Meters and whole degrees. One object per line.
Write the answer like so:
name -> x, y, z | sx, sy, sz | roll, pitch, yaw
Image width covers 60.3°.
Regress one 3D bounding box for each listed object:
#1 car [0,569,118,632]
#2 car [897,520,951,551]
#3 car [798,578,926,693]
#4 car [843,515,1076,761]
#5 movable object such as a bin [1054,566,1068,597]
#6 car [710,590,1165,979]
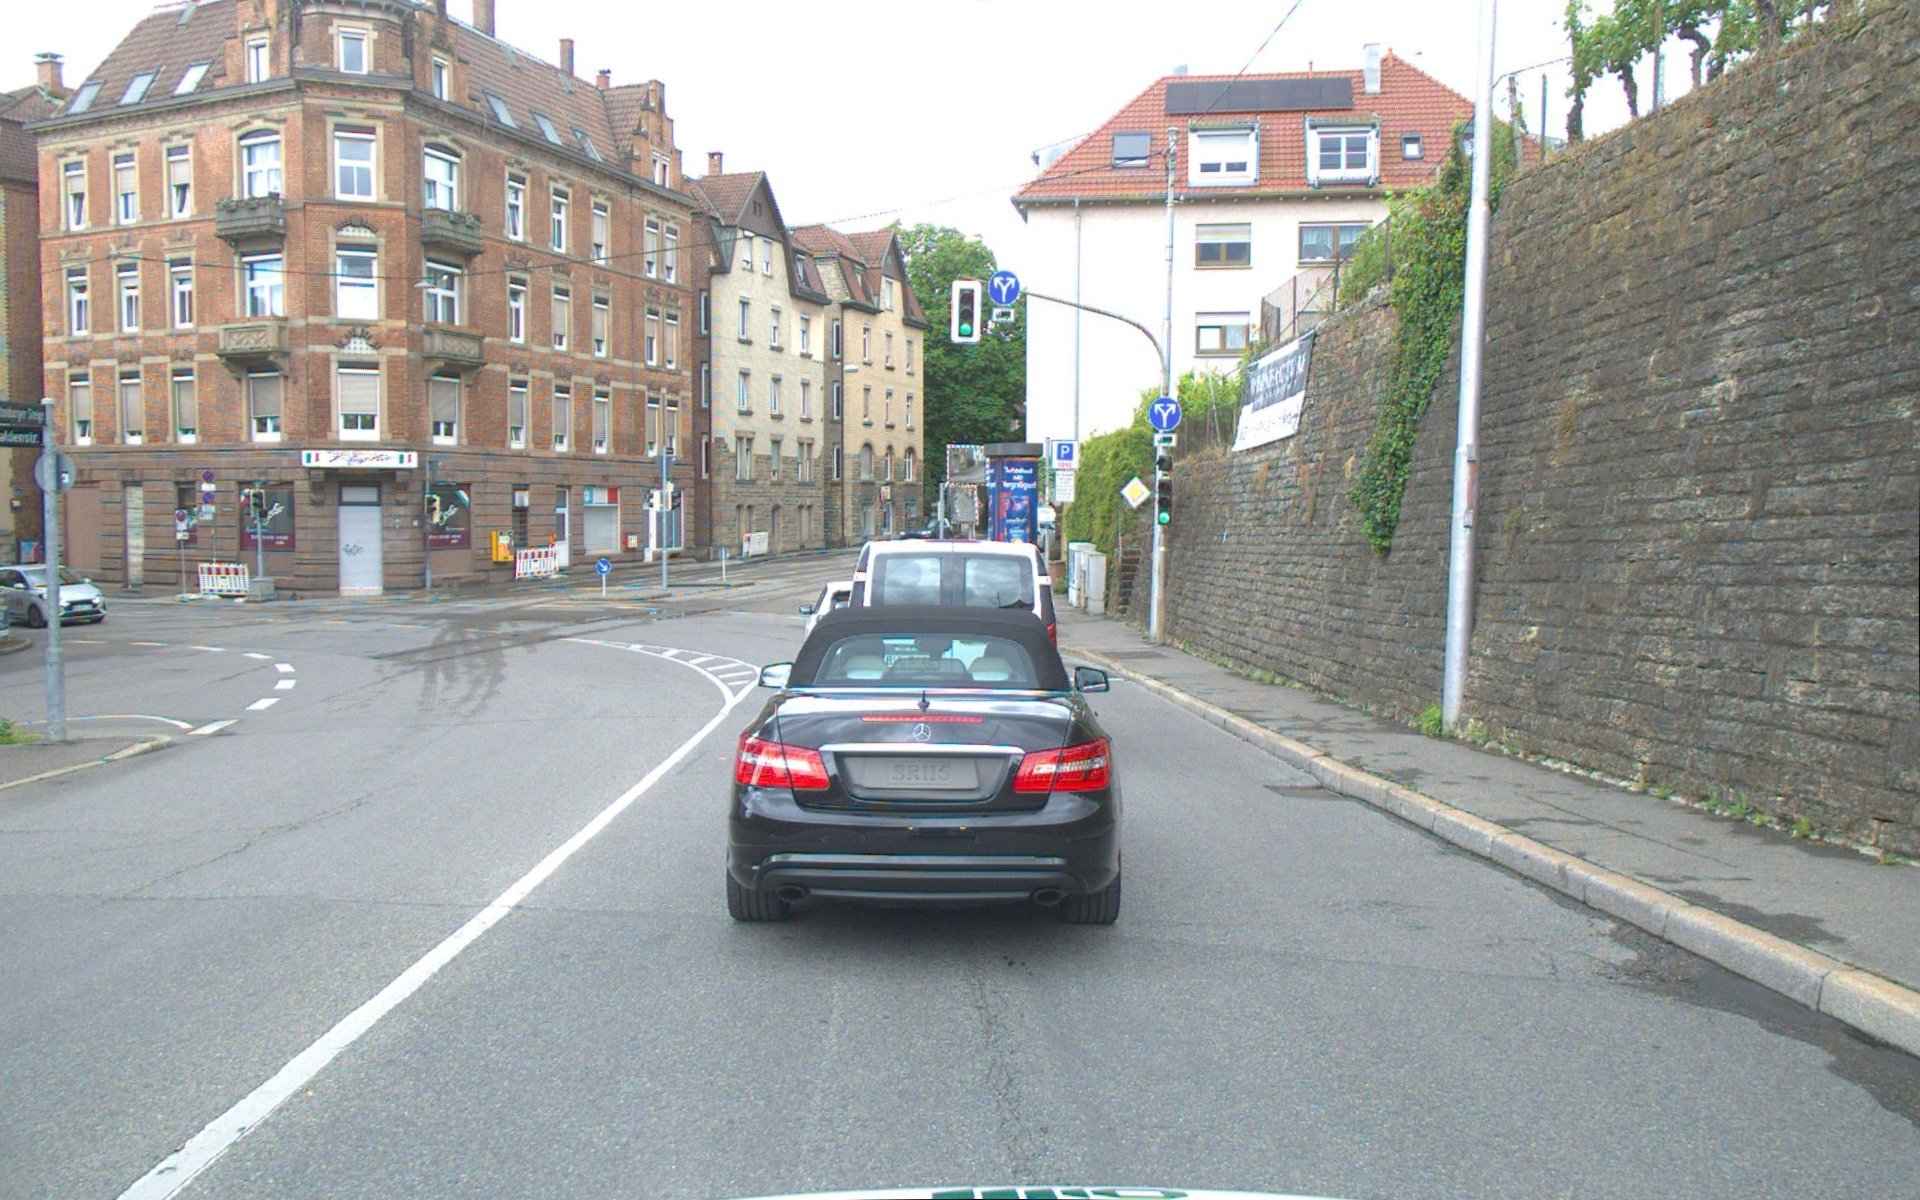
car -> -23.293, -0.012, 42.198 | 3.567, 1.493, 1.670 | 2, 1, 33
car -> -1.897, -3.504, 89.584 | 1.951, 1.541, 4.291 | 0, 4, 12
car -> -1.328, 0.448, 23.775 | 1.647, 1.491, 3.918 | 1, 1, -1
car -> -0.034, 0.273, 15.627 | 1.853, 1.962, 4.645 | 0, 1, -1
movable object such as a bin -> 3.004, -0.556, 49.112 | 0.337, 0.927, 0.494 | 0, 1, -6
car -> -0.115, 0.694, 8.511 | 1.726, 1.434, 4.398 | 1, 1, -1
